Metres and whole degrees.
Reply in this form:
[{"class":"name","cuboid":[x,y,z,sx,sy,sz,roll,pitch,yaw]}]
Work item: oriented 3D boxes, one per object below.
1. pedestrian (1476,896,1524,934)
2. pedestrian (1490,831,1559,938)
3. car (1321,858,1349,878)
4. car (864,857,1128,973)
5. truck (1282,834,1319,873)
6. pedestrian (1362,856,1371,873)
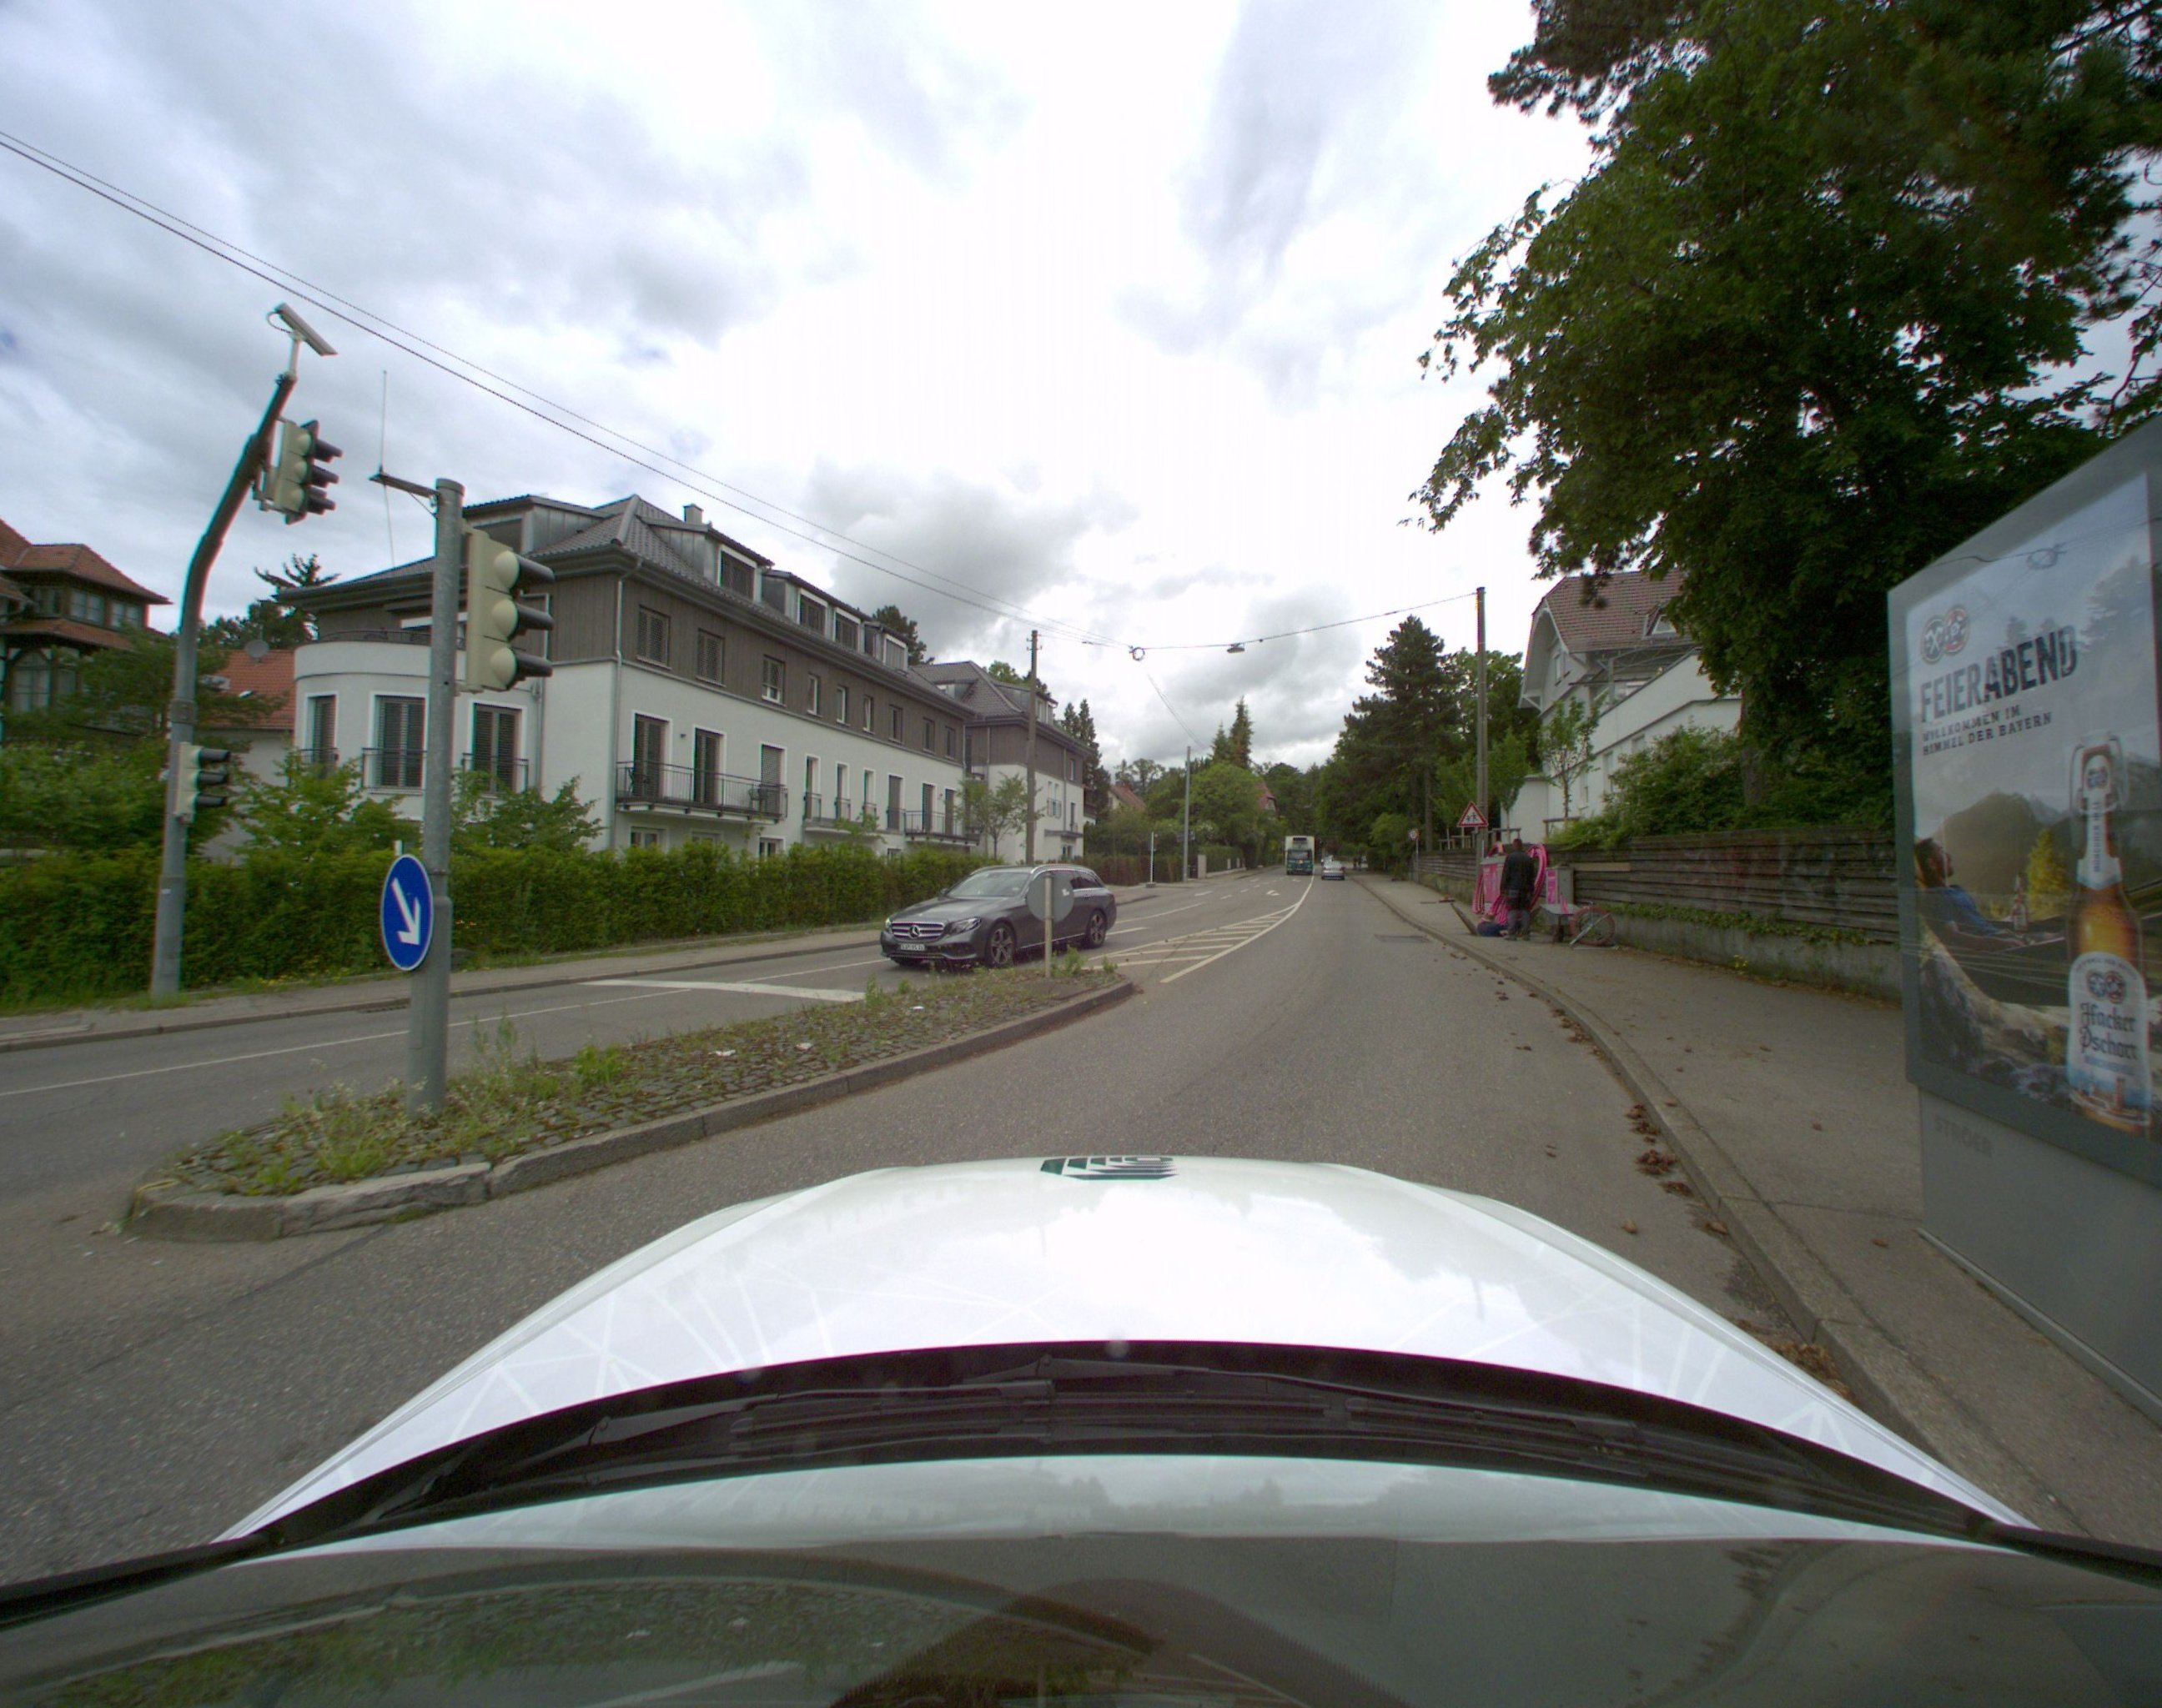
[{"class":"pedestrian","cuboid":[8.351,1.210,16.243,0.647,0.696,0.580,0,0,-24]},{"class":"pedestrian","cuboid":[8.201,0.553,15.089,0.844,1.924,0.800,0,0,-3]},{"class":"car","cuboid":[19.245,1.085,61.857,1.784,1.415,4.351,0,-1,14]},{"class":"car","cuboid":[-1.120,0.837,13.250,1.808,1.485,4.777,-2,-1,29]},{"class":"truck","cuboid":[20.309,0.027,75.797,2.760,3.461,7.515,0,-1,11]},{"class":"pedestrian","cuboid":[30.095,1.106,85.786,0.801,1.807,0.744,0,0,16]}]
